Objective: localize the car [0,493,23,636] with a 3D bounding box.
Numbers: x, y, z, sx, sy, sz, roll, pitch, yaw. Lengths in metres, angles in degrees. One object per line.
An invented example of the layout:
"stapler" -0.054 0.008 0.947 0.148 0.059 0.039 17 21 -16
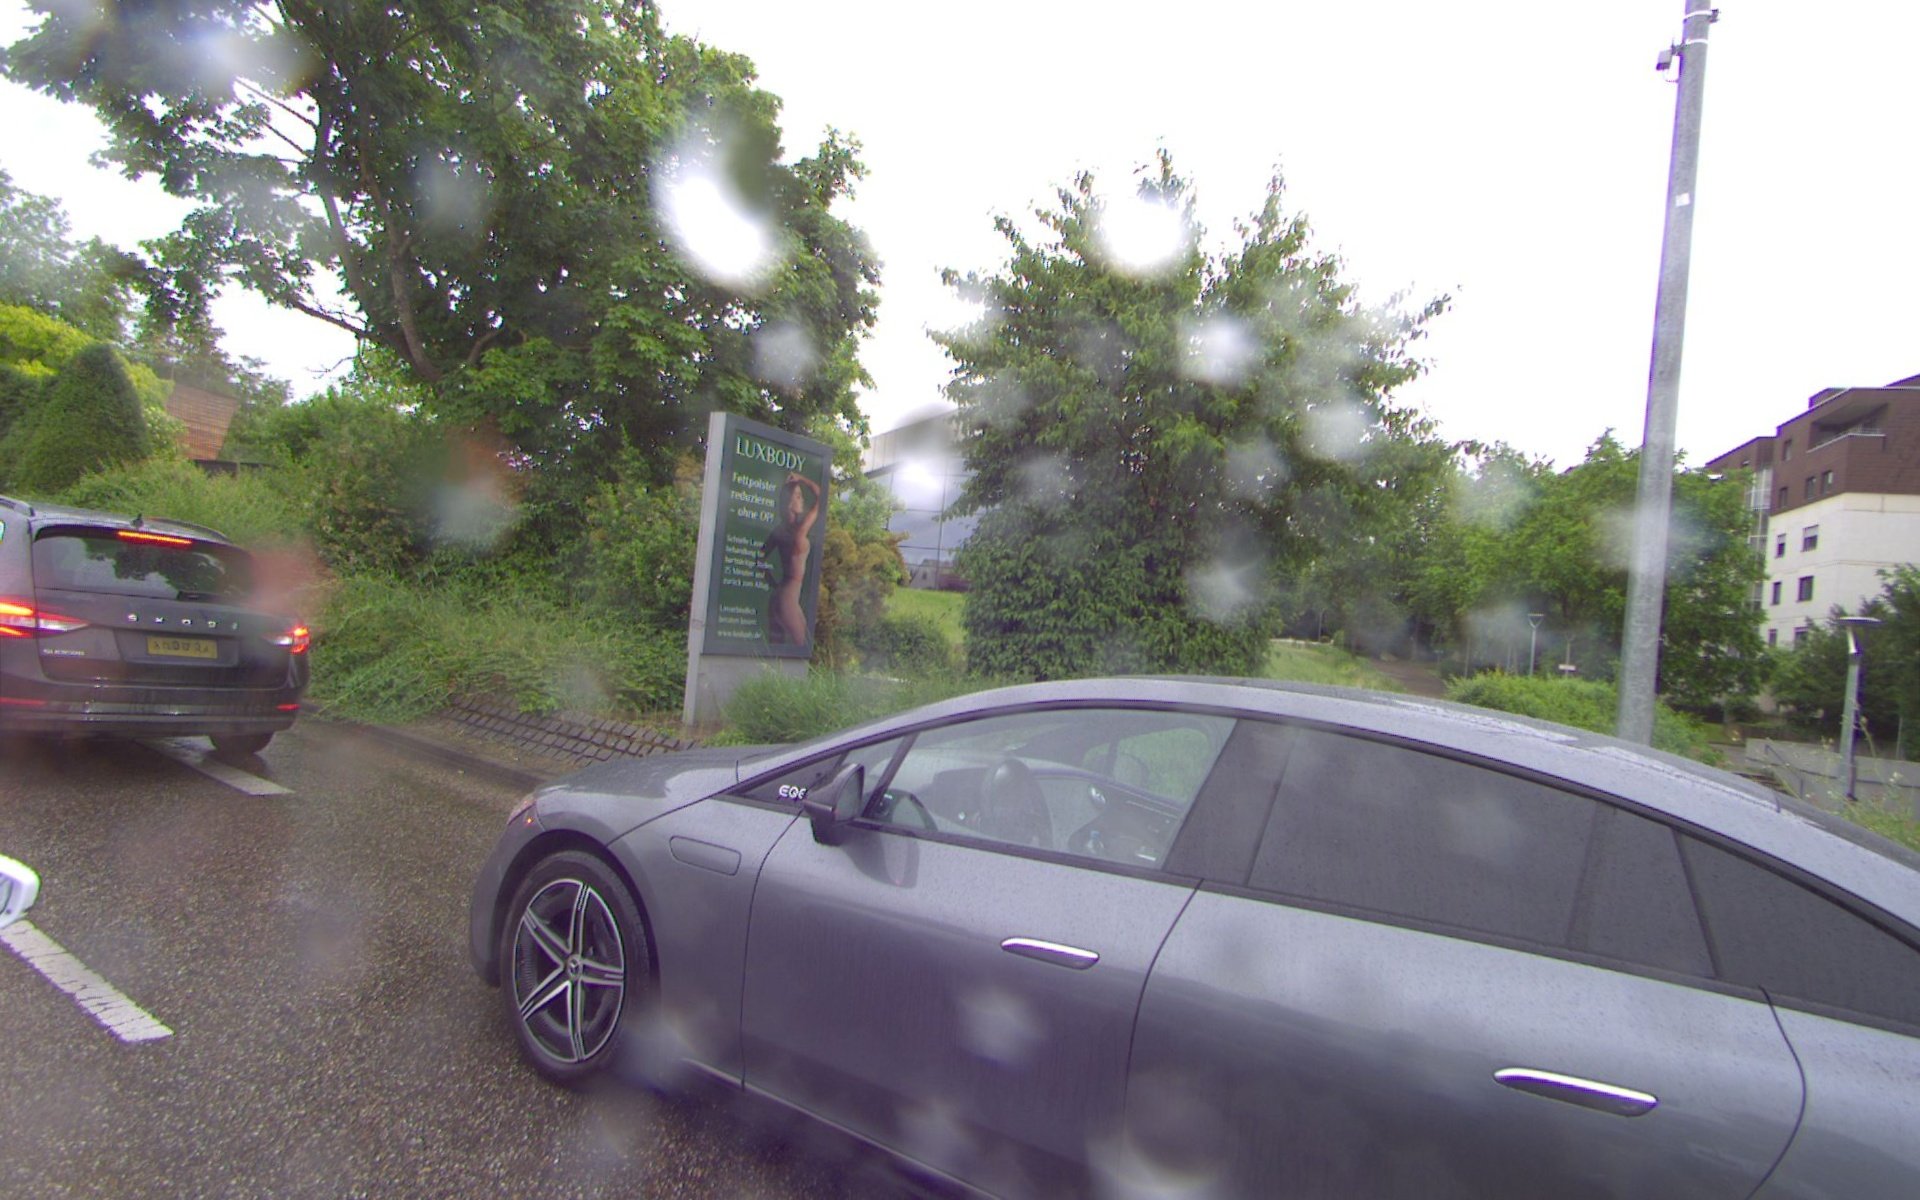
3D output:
"car" -12.185 -0.673 10.883 4.048 1.483 1.842 7 -2 31

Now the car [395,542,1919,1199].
"car" 0.687 0.894 2.921 4.727 1.483 1.842 7 -2 31

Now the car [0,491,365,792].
"car" -6.124 0.075 6.757 4.279 1.483 1.841 7 -2 33
